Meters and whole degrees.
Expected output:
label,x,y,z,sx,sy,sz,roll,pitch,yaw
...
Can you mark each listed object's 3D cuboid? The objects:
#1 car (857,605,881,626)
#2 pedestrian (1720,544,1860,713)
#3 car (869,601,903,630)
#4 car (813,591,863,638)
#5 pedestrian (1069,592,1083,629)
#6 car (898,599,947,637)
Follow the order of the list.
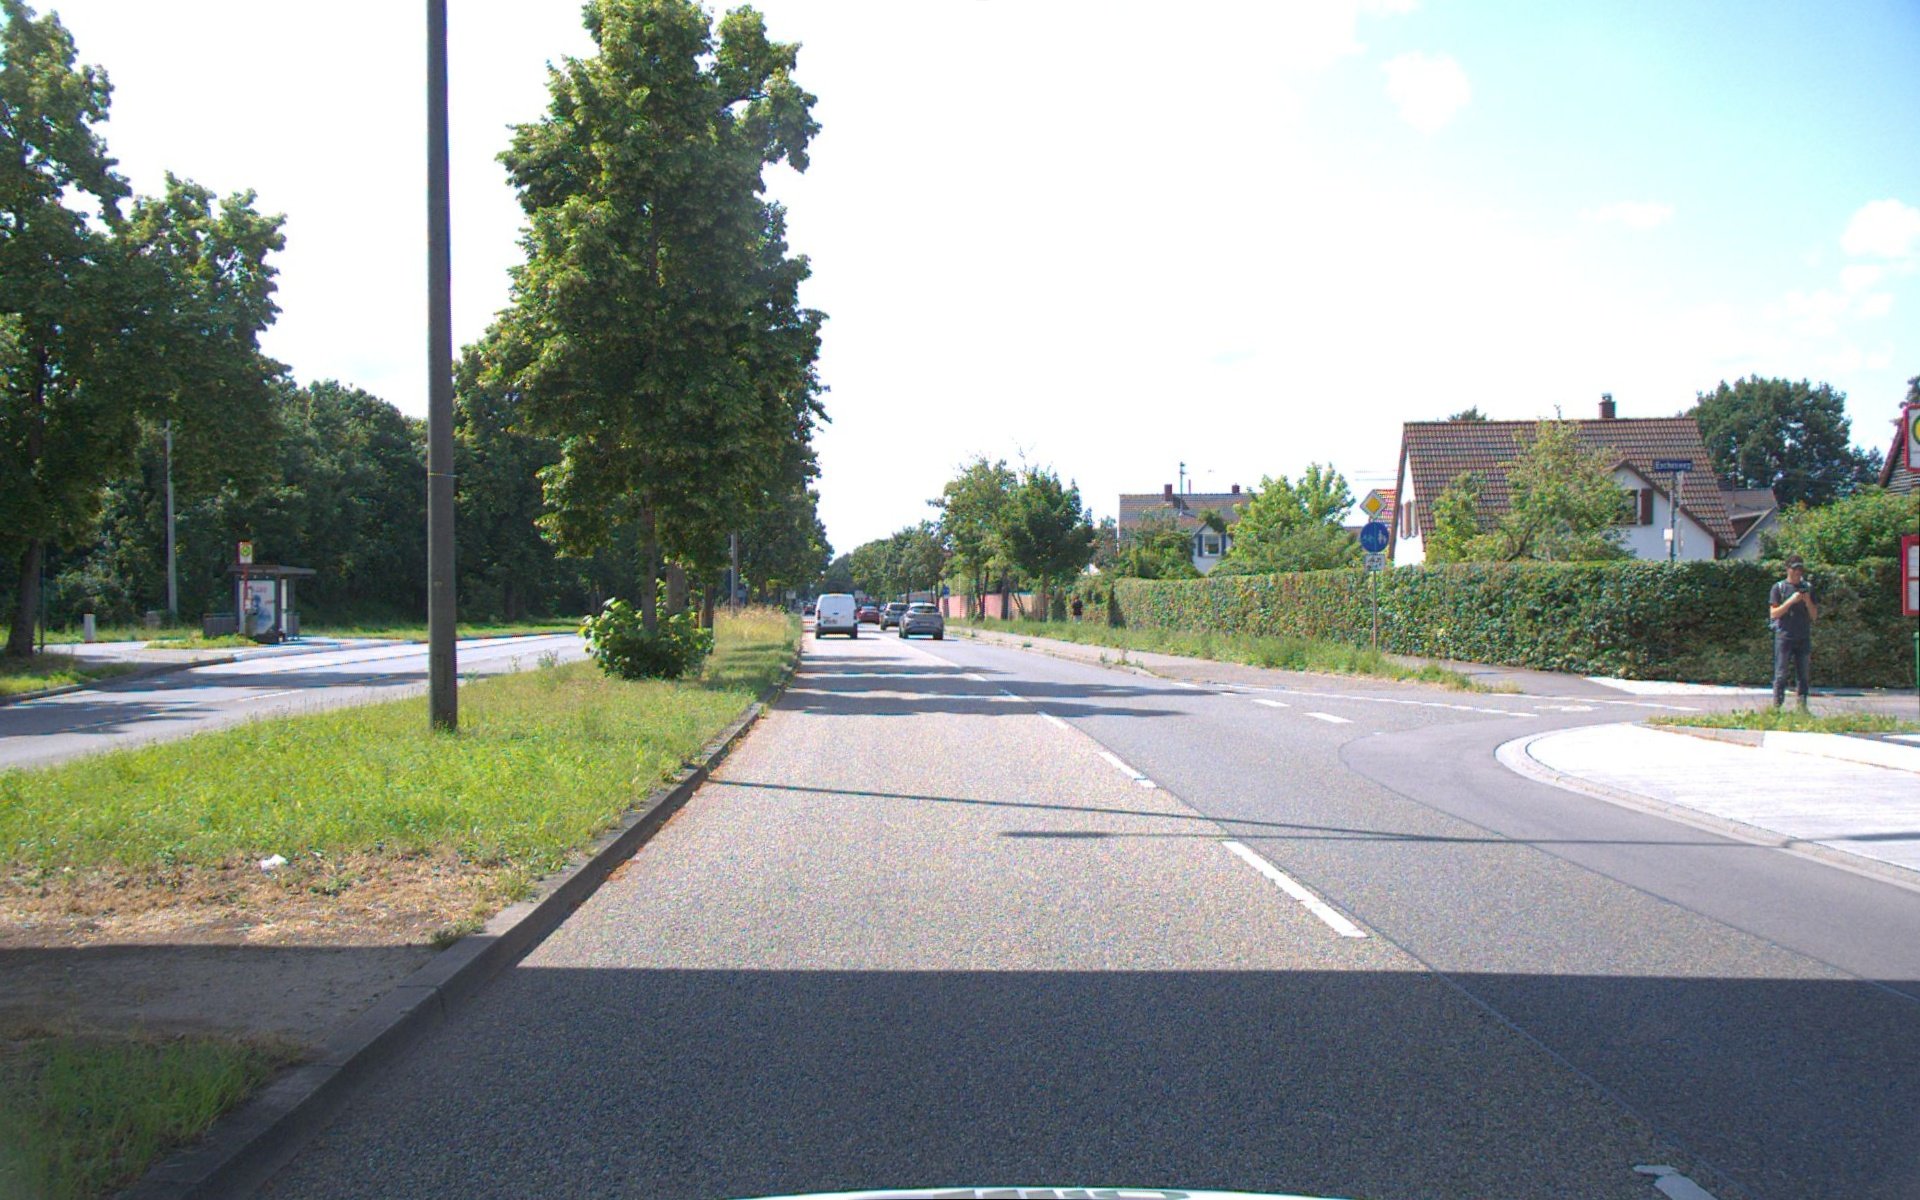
label,x,y,z,sx,sy,sz,roll,pitch,yaw
car,-7.506,1.266,136.637,1.844,1.615,3.995,0,0,-5
pedestrian,9.535,0.335,19.049,0.935,1.856,1.087,-2,-2,-3
car,-4.415,0.916,98.155,1.839,1.681,3.995,0,0,-5
car,-5.217,0.604,70.325,2.026,1.945,4.641,0,0,-5
pedestrian,5.353,0.482,76.642,0.549,1.706,0.633,0,0,-6
car,-1.656,0.777,72.027,1.839,1.617,4.180,0,0,-5
